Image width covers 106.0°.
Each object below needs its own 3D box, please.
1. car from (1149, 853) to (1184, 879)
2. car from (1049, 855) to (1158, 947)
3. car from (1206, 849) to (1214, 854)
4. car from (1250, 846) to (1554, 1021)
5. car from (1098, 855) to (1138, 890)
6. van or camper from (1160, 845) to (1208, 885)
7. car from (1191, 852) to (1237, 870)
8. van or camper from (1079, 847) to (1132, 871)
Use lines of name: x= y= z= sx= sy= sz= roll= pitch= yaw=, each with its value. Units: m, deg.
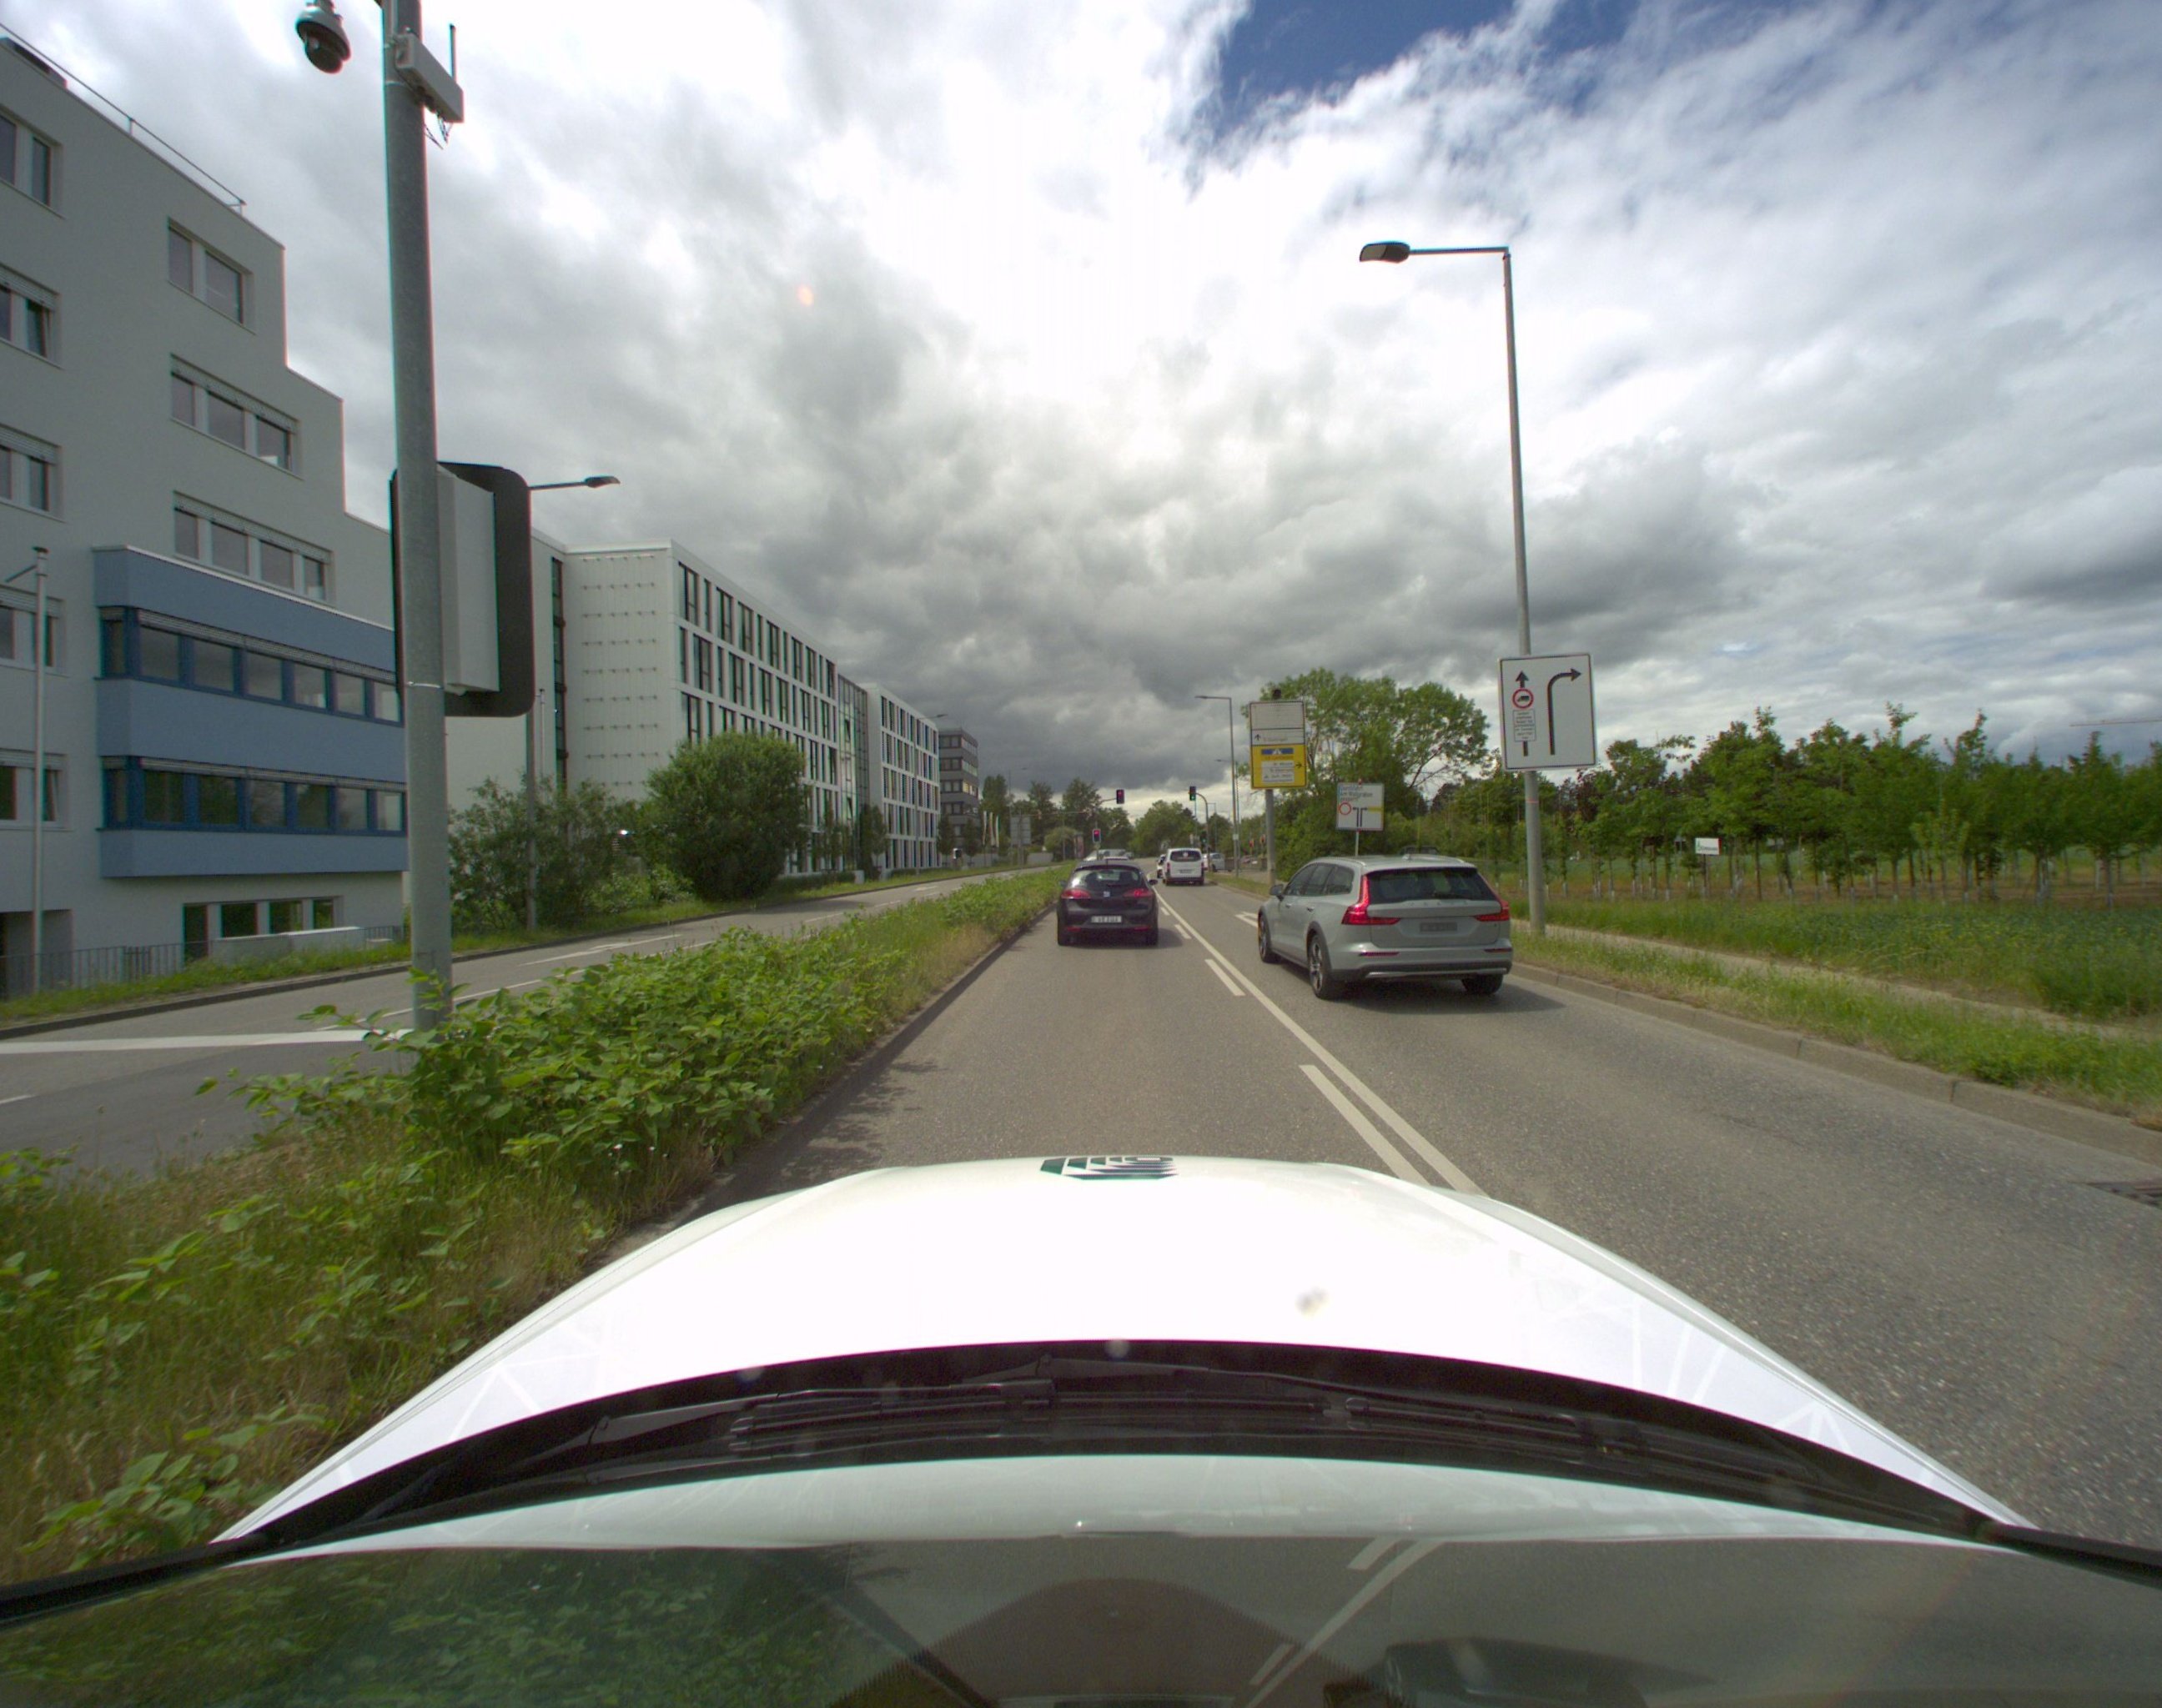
car: x=5.627 y=0.756 z=54.017 sx=1.986 sy=1.632 sz=4.001 roll=-1 pitch=0 yaw=2
car: x=0.490 y=0.762 z=14.930 sx=1.765 sy=1.452 sz=3.586 roll=0 pitch=0 yaw=4
car: x=36.104 y=-0.650 z=227.808 sx=1.980 sy=1.352 sz=4.013 roll=-1 pitch=0 yaw=12
car: x=3.354 y=0.712 z=9.571 sx=1.856 sy=1.518 sz=4.447 roll=-2 pitch=0 yaw=1
car: x=1.738 y=0.836 z=38.767 sx=1.766 sy=1.491 sz=3.584 roll=-2 pitch=0 yaw=2
van or camper: x=5.178 y=0.548 z=41.633 sx=1.985 sy=1.860 sz=4.946 roll=-1 pitch=0 yaw=2
car: x=10.935 y=0.576 z=67.246 sx=3.381 sy=1.345 sz=1.683 roll=-1 pitch=0 yaw=-11
van or camper: x=2.305 y=0.451 z=75.450 sx=4.842 sy=2.013 sz=1.976 roll=-1 pitch=0 yaw=-42
